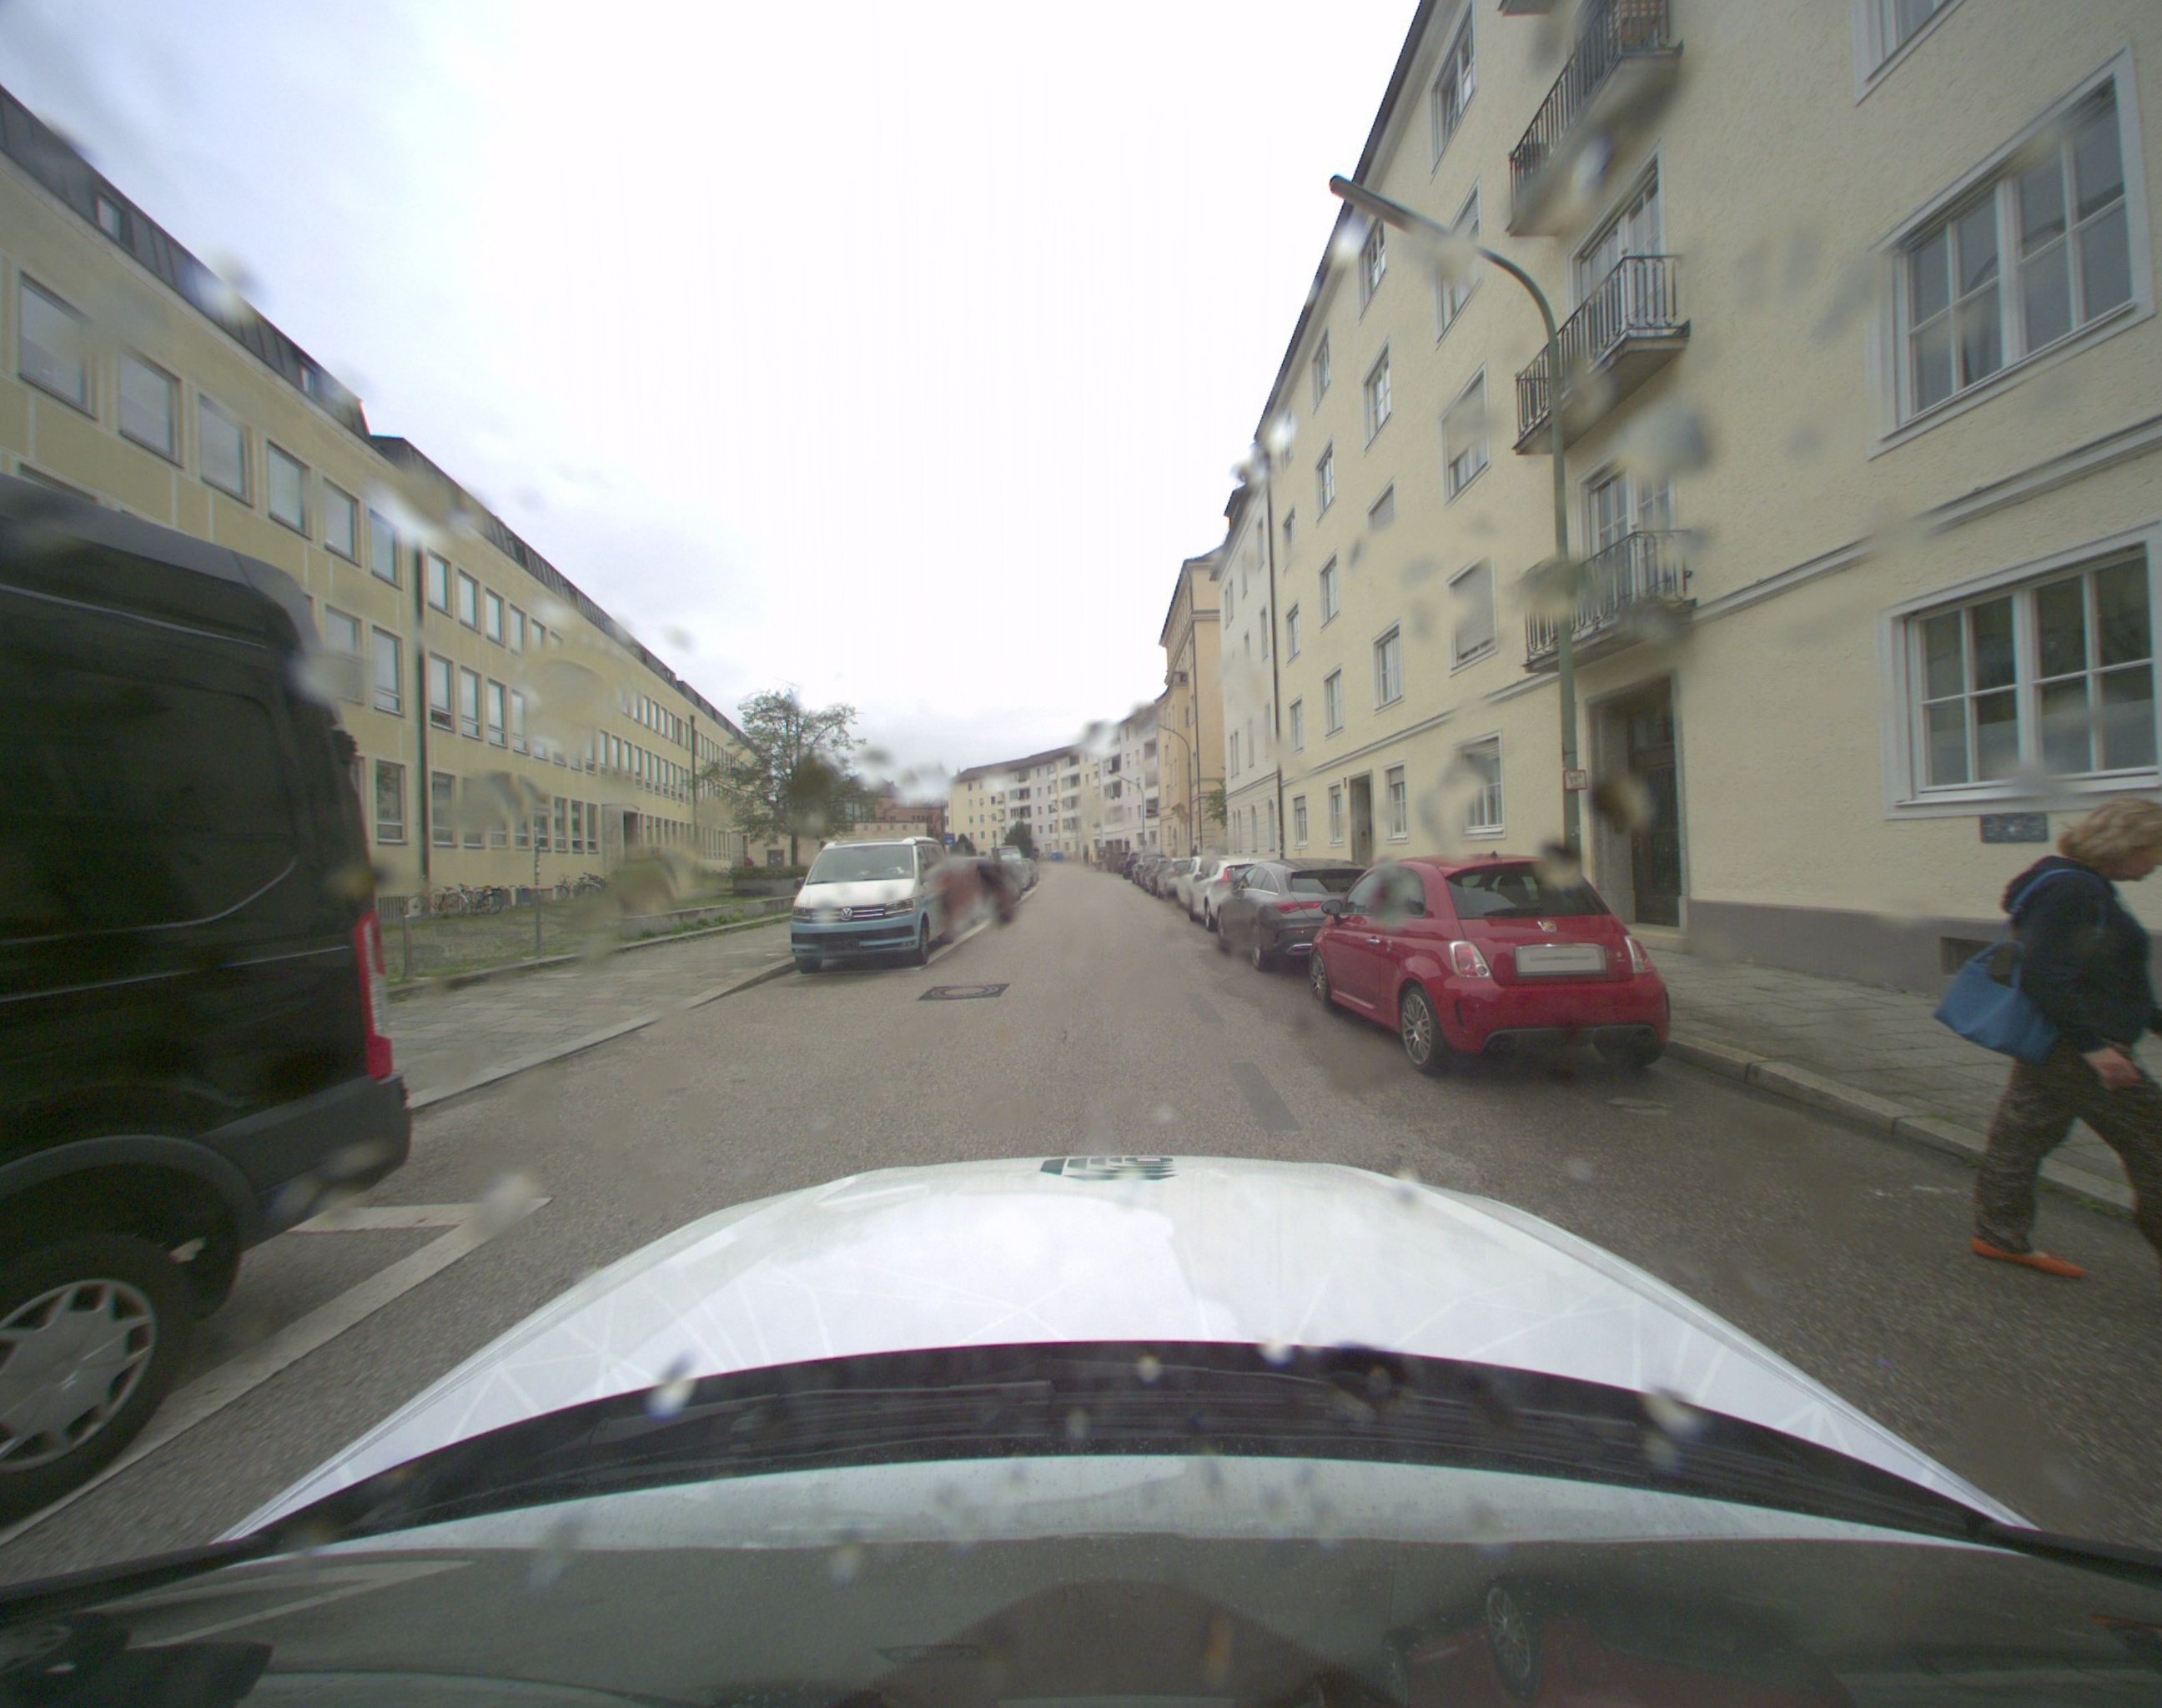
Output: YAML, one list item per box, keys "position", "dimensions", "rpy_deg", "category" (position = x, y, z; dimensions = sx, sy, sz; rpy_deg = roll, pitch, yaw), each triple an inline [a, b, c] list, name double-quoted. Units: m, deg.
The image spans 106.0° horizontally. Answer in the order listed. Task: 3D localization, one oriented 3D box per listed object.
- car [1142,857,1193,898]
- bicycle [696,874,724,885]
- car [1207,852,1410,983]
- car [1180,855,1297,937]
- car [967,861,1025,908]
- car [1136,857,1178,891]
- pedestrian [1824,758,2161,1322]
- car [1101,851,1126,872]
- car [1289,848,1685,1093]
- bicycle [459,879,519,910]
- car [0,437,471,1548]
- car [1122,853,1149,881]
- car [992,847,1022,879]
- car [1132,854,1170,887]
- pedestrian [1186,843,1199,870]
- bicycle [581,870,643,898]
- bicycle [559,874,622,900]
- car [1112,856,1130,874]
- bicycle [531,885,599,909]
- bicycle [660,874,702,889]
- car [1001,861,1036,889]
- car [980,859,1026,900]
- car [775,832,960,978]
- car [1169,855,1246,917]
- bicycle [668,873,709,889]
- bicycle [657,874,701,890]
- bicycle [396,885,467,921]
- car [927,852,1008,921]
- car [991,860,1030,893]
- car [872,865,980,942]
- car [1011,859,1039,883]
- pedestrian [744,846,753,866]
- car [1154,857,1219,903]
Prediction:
- position: [3.402, 0.886, 32.652]
  dimensions: [1.585, 1.432, 4.421]
  rpy_deg: [0, 1, 0]
  category: "car"
- position: [-26.409, 1.782, 57.990]
  dimensions: [1.742, 0.714, 0.611]
  rpy_deg: [-1, -1, -18]
  category: "bicycle"
- position: [3.016, 0.745, 11.760]
  dimensions: [1.687, 1.491, 4.342]
  rpy_deg: [-2, 0, 0]
  category: "car"
- position: [3.290, 0.807, 17.756]
  dimensions: [1.687, 1.491, 4.282]
  rpy_deg: [-2, 0, 0]
  category: "car"
- position: [-2.994, 1.043, 29.302]
  dimensions: [1.618, 1.412, 3.798]
  rpy_deg: [-3, 0, 0]
  category: "car"
- position: [3.440, 0.879, 37.331]
  dimensions: [1.585, 1.432, 3.825]
  rpy_deg: [0, 1, 0]
  category: "car"
- position: [3.297, 0.576, 2.977]
  dimensions: [0.664, 1.728, 0.801]
  rpy_deg: [-1, -2, 29]
  category: "pedestrian"
- position: [2.780, 0.628, 69.346]
  dimensions: [1.601, 1.715, 3.080]
  rpy_deg: [0, 1, -9]
  category: "car"
- position: [3.039, 0.721, 7.030]
  dimensions: [1.589, 1.509, 3.802]
  rpy_deg: [-1, 0, 1]
  category: "car"
- position: [-19.181, 1.318, 26.402]
  dimensions: [1.530, 0.955, 0.364]
  rpy_deg: [-1, 0, -16]
  category: "bicycle"
- position: [-3.677, 0.362, 0.638]
  dimensions: [2.079, 2.636, 5.381]
  rpy_deg: [-1, 1, 3]
  category: "car"
- position: [3.483, 0.791, 52.255]
  dimensions: [1.469, 1.641, 4.000]
  rpy_deg: [0, 1, 0]
  category: "car"
- position: [-6.372, 0.781, 69.939]
  dimensions: [1.775, 2.654, 3.977]
  rpy_deg: [1, 0, -17]
  category: "car"
- position: [3.599, 0.812, 42.405]
  dimensions: [1.585, 1.582, 4.298]
  rpy_deg: [0, 1, 0]
  category: "car"
- position: [6.911, 0.149, 50.402]
  dimensions: [0.664, 1.692, 0.690]
  rpy_deg: [1, 0, 1]
  category: "pedestrian"
- position: [-21.455, 1.358, 37.318]
  dimensions: [2.250, 1.168, 1.042]
  rpy_deg: [-1, 1, -15]
  category: "bicycle"
- position: [-20.770, 1.390, 34.509]
  dimensions: [2.211, 1.037, 0.492]
  rpy_deg: [-1, -1, -18]
  category: "bicycle"
- position: [3.111, 0.857, 64.092]
  dimensions: [1.268, 1.299, 2.797]
  rpy_deg: [-1, 0, 0]
  category: "car"
- position: [-20.495, 1.693, 32.372]
  dimensions: [2.211, 0.835, 0.492]
  rpy_deg: [-1, -1, -18]
  category: "bicycle"
- position: [-23.507, 1.608, 47.911]
  dimensions: [2.124, 0.835, 0.644]
  rpy_deg: [-1, -1, -18]
  category: "bicycle"
- position: [-3.450, 1.138, 45.458]
  dimensions: [1.619, 1.419, 3.979]
  rpy_deg: [-2, 0, -1]
  category: "car"
- position: [-3.242, 1.025, 34.441]
  dimensions: [1.619, 1.508, 3.978]
  rpy_deg: [-2, 0, -2]
  category: "car"
- position: [-3.297, 0.675, 13.604]
  dimensions: [1.877, 1.931, 4.598]
  rpy_deg: [-3, 1, -1]
  category: "car"
- position: [3.433, 0.824, 22.633]
  dimensions: [1.593, 1.491, 3.800]
  rpy_deg: [-1, 1, 1]
  category: "car"
- position: [-24.311, 1.683, 50.432]
  dimensions: [2.211, 0.896, 0.644]
  rpy_deg: [-1, -1, -18]
  category: "bicycle"
- position: [-23.267, 1.610, 47.173]
  dimensions: [2.211, 0.835, 0.492]
  rpy_deg: [-1, -1, -18]
  category: "bicycle"
- position: [-18.472, 1.389, 23.182]
  dimensions: [1.530, 0.955, 0.364]
  rpy_deg: [-1, 0, -16]
  category: "bicycle"
- position: [-3.206, 0.864, 23.747]
  dimensions: [1.696, 1.691, 4.028]
  rpy_deg: [-3, 1, 0]
  category: "car"
- position: [-3.415, 1.080, 39.954]
  dimensions: [1.619, 1.419, 3.978]
  rpy_deg: [-2, 0, -2]
  category: "car"
- position: [-3.385, 1.038, 18.388]
  dimensions: [1.647, 1.373, 3.652]
  rpy_deg: [-3, 1, 0]
  category: "car"
- position: [-3.738, 1.130, 54.971]
  dimensions: [1.619, 1.419, 3.646]
  rpy_deg: [-2, 0, -1]
  category: "car"
- position: [-30.087, 0.180, 73.637]
  dimensions: [0.602, 1.735, 0.657]
  rpy_deg: [1, 0, -30]
  category: "pedestrian"
- position: [3.497, 0.838, 27.616]
  dimensions: [1.687, 1.432, 3.944]
  rpy_deg: [0, 0, 0]
  category: "car"
